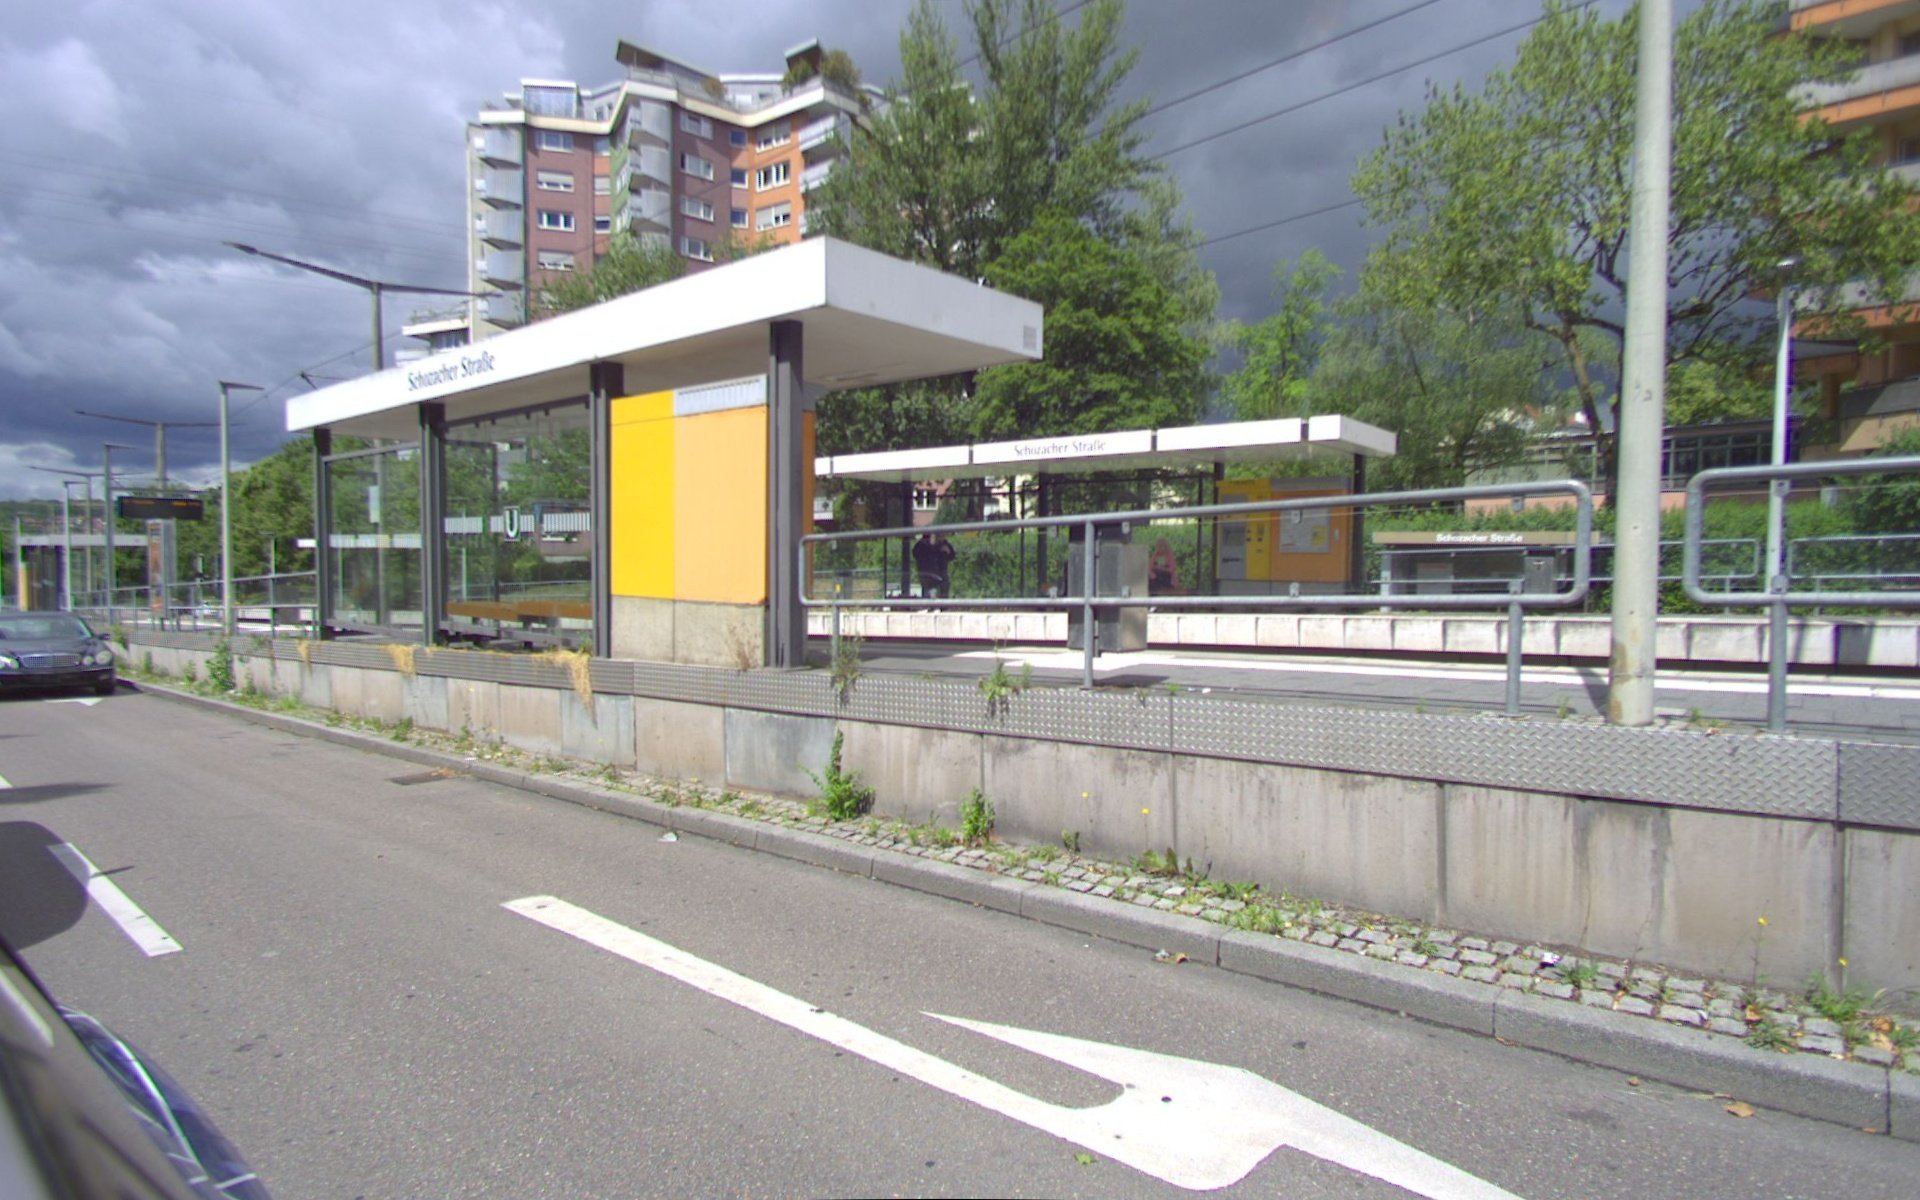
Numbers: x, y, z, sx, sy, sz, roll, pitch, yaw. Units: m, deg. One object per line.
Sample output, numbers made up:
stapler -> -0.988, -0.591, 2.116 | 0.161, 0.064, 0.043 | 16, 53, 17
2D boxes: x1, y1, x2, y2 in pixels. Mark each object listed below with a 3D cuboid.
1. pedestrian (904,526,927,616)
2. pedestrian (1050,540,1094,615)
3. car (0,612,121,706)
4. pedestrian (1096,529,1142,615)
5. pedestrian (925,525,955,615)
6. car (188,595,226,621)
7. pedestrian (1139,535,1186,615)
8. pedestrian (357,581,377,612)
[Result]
pedestrian -> -0.860, -0.558, 19.607 | 0.421, 1.726, 0.353 | -1, 0, -1
pedestrian -> 1.989, -0.391, 17.945 | 0.463, 1.287, 0.704 | -1, 0, 40
car -> -15.865, 0.933, 17.315 | 4.065, 1.395, 1.797 | 0, 0, 43
pedestrian -> 2.703, -0.468, 17.143 | 0.463, 1.428, 0.704 | -1, 0, 40
pedestrian -> -0.393, -0.574, 19.654 | 0.544, 1.726, 0.386 | -1, 0, -1
car -> -60.246, 0.659, 80.946 | 4.000, 2.029, 1.714 | -1, 0, 43
pedestrian -> 3.326, -0.404, 16.589 | 0.463, 1.287, 0.704 | -1, 0, 40
pedestrian -> -24.629, -0.145, 42.023 | 0.560, 1.287, 0.530 | -1, 0, 34
